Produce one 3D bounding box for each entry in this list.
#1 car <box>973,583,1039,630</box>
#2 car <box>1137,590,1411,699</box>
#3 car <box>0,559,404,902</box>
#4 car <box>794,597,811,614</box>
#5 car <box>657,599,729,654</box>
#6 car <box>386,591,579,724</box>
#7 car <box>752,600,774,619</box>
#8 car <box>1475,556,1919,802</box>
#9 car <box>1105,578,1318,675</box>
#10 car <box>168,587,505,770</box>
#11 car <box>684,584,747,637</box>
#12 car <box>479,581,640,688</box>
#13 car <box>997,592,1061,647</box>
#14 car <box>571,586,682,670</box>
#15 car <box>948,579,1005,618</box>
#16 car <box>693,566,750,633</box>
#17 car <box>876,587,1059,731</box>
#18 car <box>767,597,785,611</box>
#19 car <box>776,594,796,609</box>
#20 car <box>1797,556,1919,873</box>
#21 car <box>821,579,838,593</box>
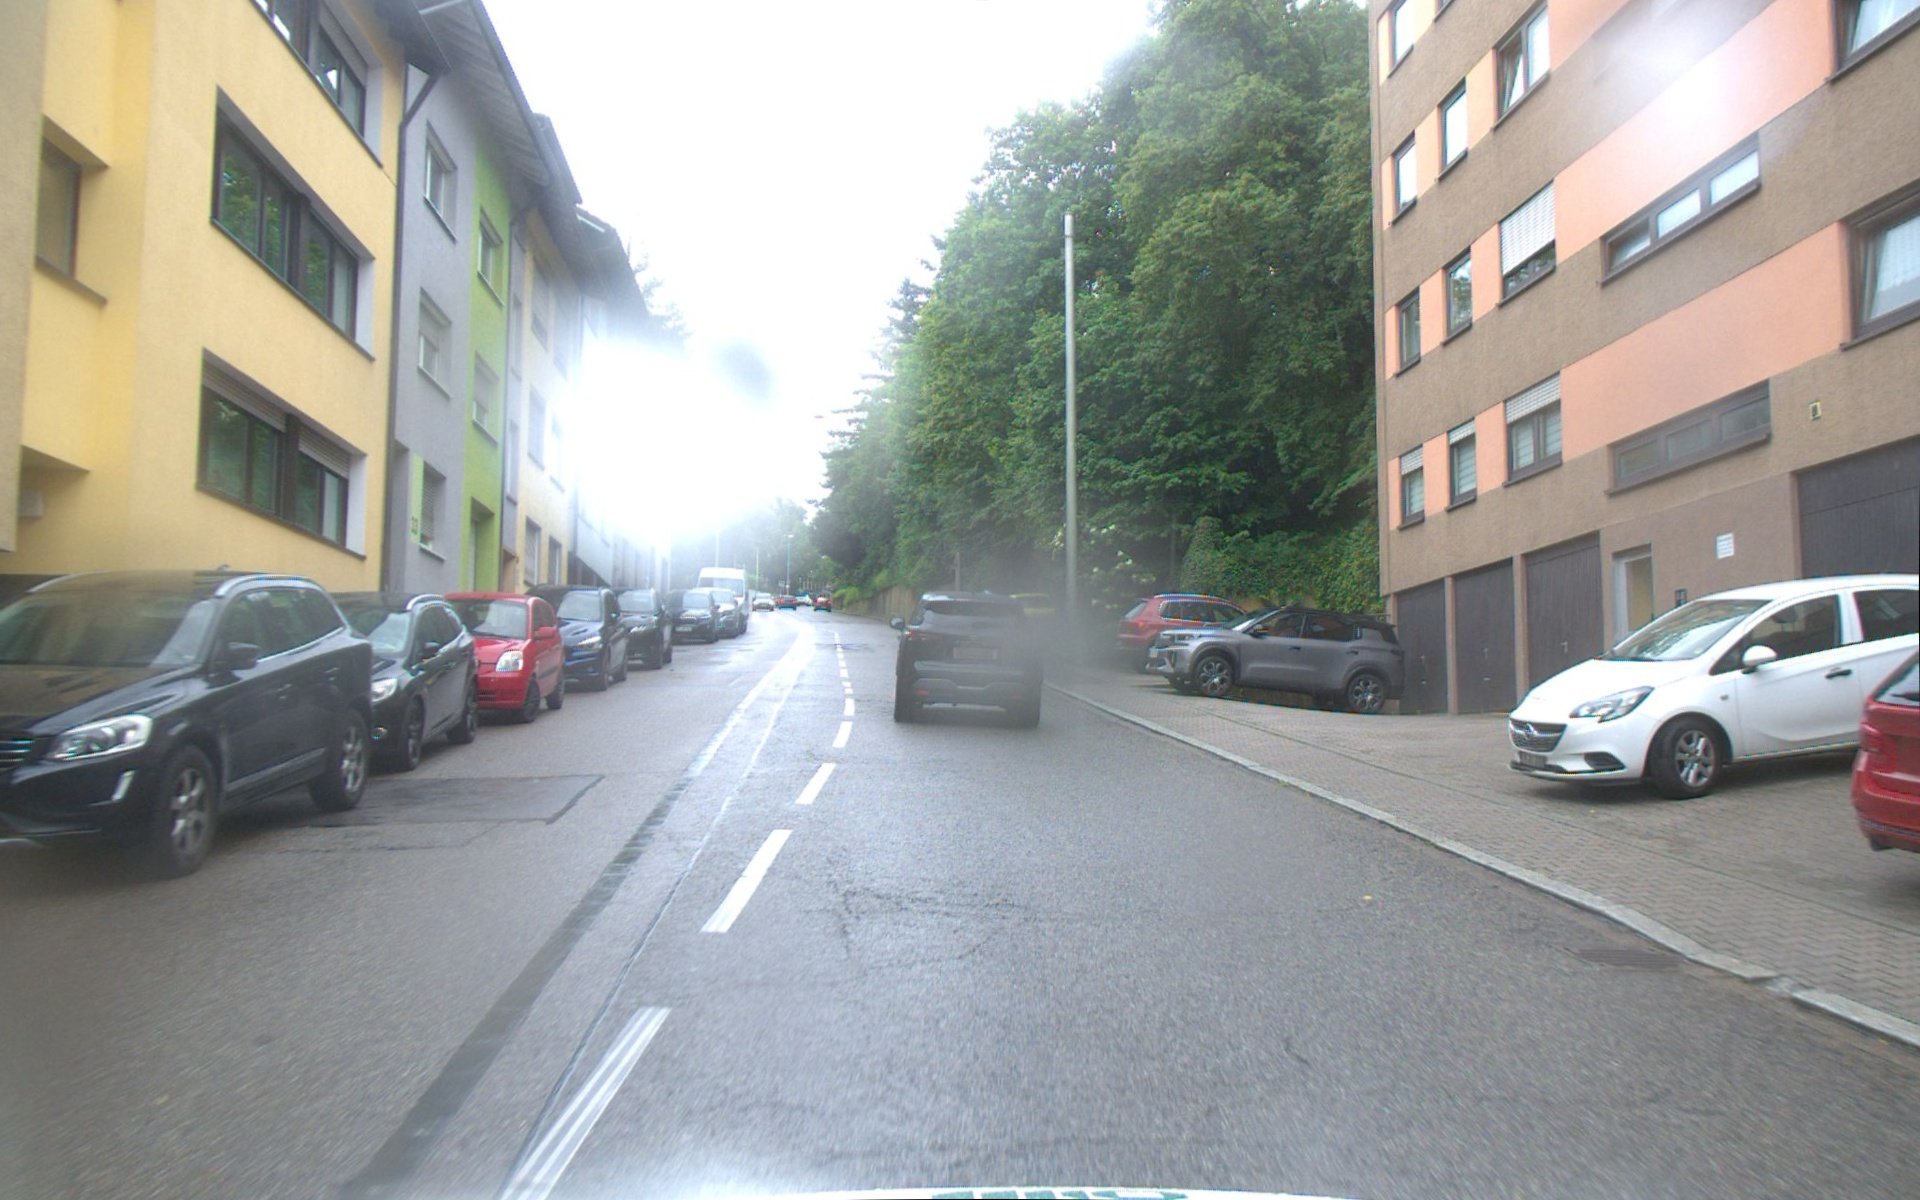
[{"bbox_3d":[1.564,0.216,57.720,1.776,1.557,4.412,-1,0,-5],"label":"car"},{"bbox_3d":[5.213,0.734,27.721,4.118,1.522,1.757,4,0,-7],"label":"car"},{"bbox_3d":[-5.124,0.620,10.314,1.953,1.679,4.439,1,0,-3],"label":"car"},{"bbox_3d":[-21.535,0.765,226.133,1.953,2.049,3.997,2,-2,-2],"label":"car"},{"bbox_3d":[-8.362,0.800,52.040,1.952,1.613,4.300,1,0,-6],"label":"car"},{"bbox_3d":[-5.847,0.652,20.627,1.695,1.498,3.487,1,0,-6],"label":"car"},{"bbox_3d":[-18.092,0.883,151.983,1.955,1.586,3.995,2,0,-7],"label":"car"},{"bbox_3d":[6.392,0.555,13.284,3.889,1.556,1.689,-5,1,-9],"label":"car"},{"bbox_3d":[5.357,0.556,35.446,4.120,1.765,1.756,4,0,-9],"label":"car"},{"bbox_3d":[-5.751,0.642,15.874,1.955,1.498,4.343,1,0,-6],"label":"car"},{"bbox_3d":[-8.606,0.338,58.482,1.952,1.786,4.474,1,0,-6],"label":"car"},{"bbox_3d":[-6.500,0.510,27.303,1.955,1.613,4.466,1,0,-6],"label":"car"},{"bbox_3d":[2.089,0.575,50.776,1.600,1.556,3.998,2,0,-2],"label":"car"},{"bbox_3d":[-6.856,0.534,34.376,1.817,1.613,4.300,1,0,-6],"label":"car"},{"bbox_3d":[0.660,-0.058,68.335,1.776,1.557,4.410,-1,0,-7],"label":"car"},{"bbox_3d":[-9.351,-0.047,65.286,1.952,2.518,5.777,1,0,-6],"label":"car"},{"bbox_3d":[-0.009,0.682,21.299,1.955,1.586,3.996,2,0,-5],"label":"car"},{"bbox_3d":[-22.042,0.468,197.788,2.034,1.587,3.995,2,0,-6],"label":"car"},{"bbox_3d":[-18.596,0.137,176.865,2.035,1.587,3.995,2,0,-6],"label":"car"},{"bbox_3d":[6.922,0.384,8.503,4.260,1.556,1.874,-6,1,-6],"label":"car"},{"bbox_3d":[-16.526,-1.804,209.671,1.954,1.587,3.997,0,-2,-3],"label":"car"}]
